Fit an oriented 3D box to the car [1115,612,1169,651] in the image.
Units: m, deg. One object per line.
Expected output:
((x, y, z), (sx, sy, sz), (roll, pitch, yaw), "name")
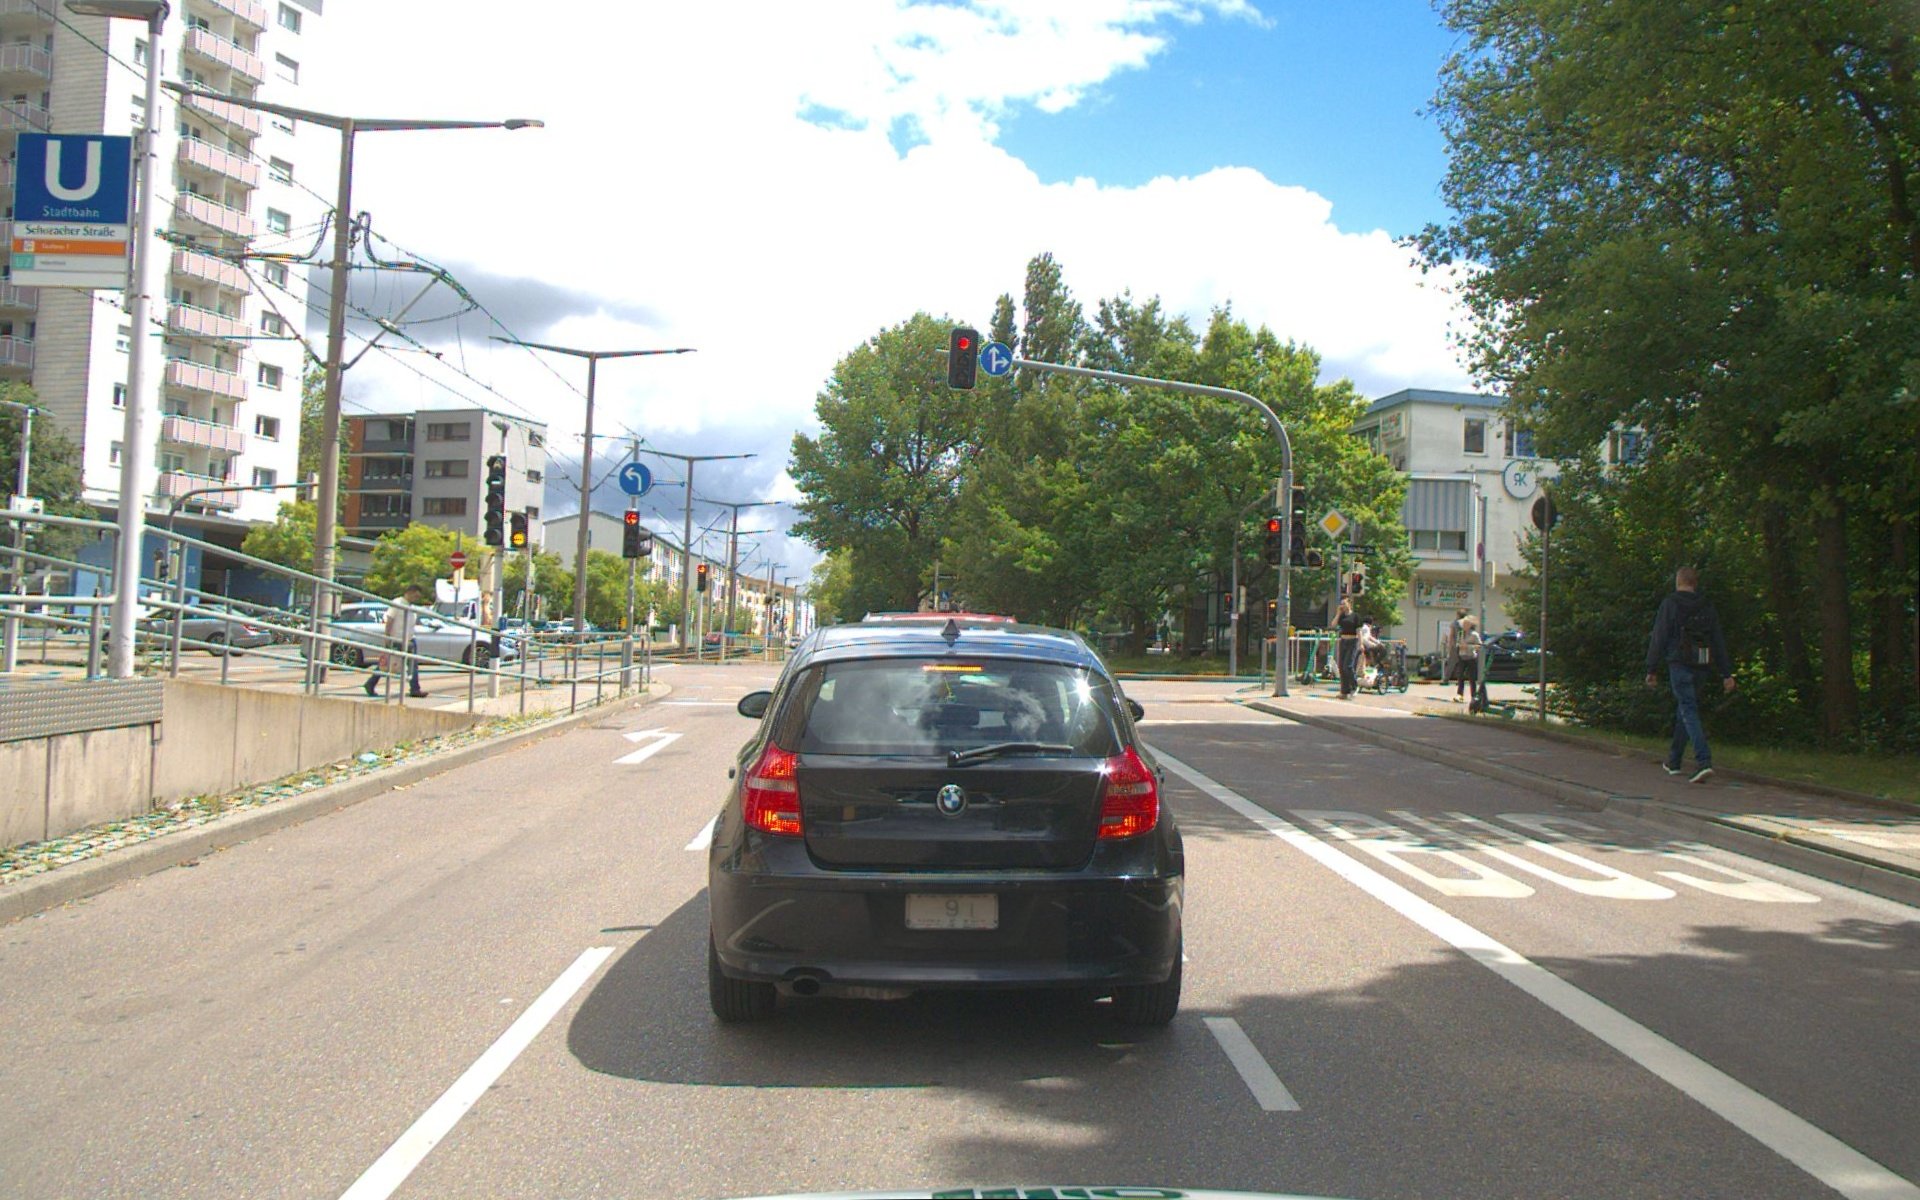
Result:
((9.355, 1.587, 85.172), (1.694, 1.904, 3.991), (2, -1, -9), "car")

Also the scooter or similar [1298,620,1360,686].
((7.382, 1.053, 33.105), (1.126, 1.294, 0.555), (1, -1, 5), "scooter or similar")

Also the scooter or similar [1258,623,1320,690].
((6.324, 1.077, 31.821), (1.087, 1.257, 0.539), (1, -1, 1), "scooter or similar")

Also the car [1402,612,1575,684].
((15.569, 1.386, 48.785), (4.451, 2.049, 1.996), (0, 0, -9), "car")

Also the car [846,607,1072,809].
((-0.029, 0.788, 13.619), (1.605, 1.424, 3.419), (1, 0, -1), "car")

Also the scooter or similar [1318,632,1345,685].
((7.862, 1.223, 35.000), (0.536, 1.082, 1.263), (1, 0, 13), "scooter or similar")

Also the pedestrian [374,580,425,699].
((-8.413, 0.587, 24.821), (0.677, 1.764, 0.684), (1, -1, -19), "pedestrian")

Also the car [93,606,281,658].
((-21.289, 0.879, 45.693), (4.360, 1.352, 1.676), (1, 0, -8), "car")

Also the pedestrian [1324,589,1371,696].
((7.061, 0.771, 30.138), (0.628, 1.909, 0.514), (2, -1, -25), "pedestrian")

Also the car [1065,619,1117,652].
((7.168, 1.935, 90.762), (1.830, 1.691, 3.988), (2, -1, -12), "car")

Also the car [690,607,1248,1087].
((0.006, 0.758, 6.717), (1.666, 1.424, 3.419), (1, 0, -1), "car")

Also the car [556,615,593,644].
((-24.762, 1.890, 106.279), (1.559, 1.787, 3.773), (2, -1, -2), "car")

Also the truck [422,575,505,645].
((-23.779, 0.492, 79.497), (2.237, 3.172, 7.311), (2, -1, -5), "truck")

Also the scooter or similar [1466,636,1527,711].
((9.274, 1.269, 28.602), (0.872, 1.252, 0.454), (1, -1, -4), "scooter or similar")

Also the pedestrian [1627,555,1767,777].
((6.591, 0.575, 14.838), (0.779, 1.909, 1.013), (1, -1, -1), "pedestrian")

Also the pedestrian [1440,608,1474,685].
((11.444, 1.059, 38.096), (0.644, 1.743, 0.461), (1, -1, 29), "pedestrian")

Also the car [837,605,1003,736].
((-0.486, 0.814, 21.081), (1.862, 1.447, 4.538), (1, 0, -1), "car")

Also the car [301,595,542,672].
((-11.721, 0.731, 36.323), (4.701, 1.549, 1.996), (1, -1, -9), "car")
